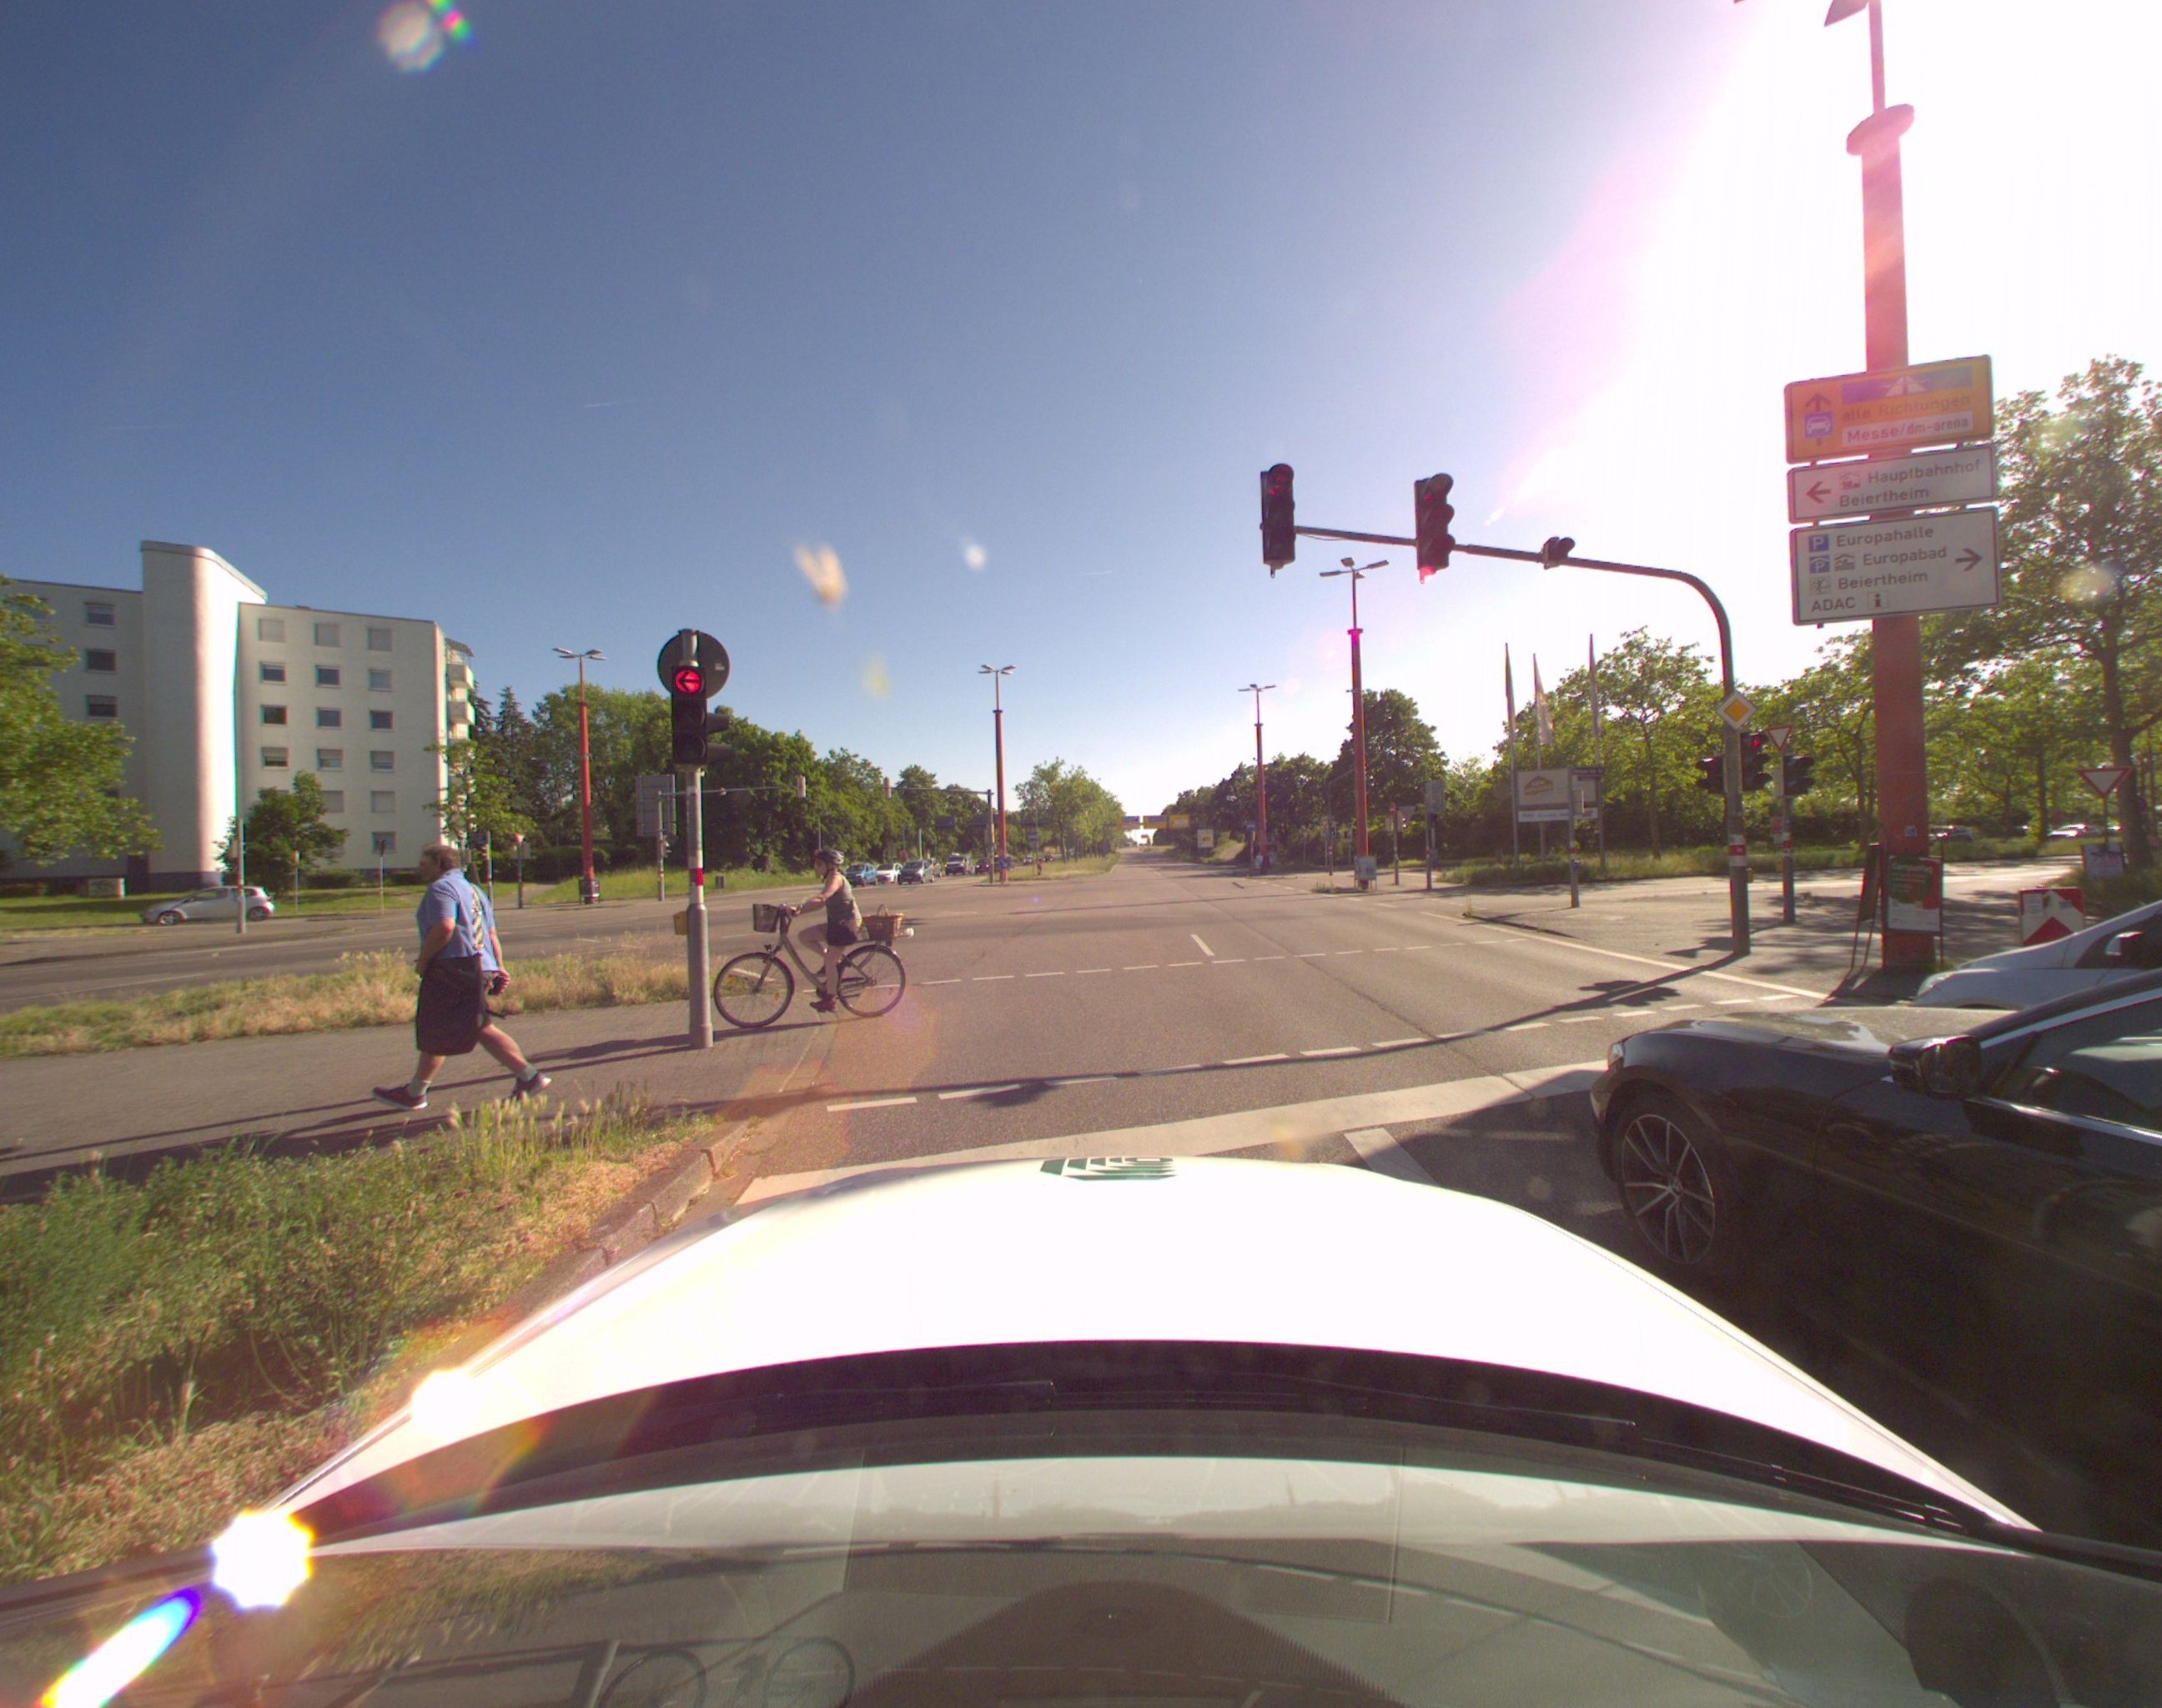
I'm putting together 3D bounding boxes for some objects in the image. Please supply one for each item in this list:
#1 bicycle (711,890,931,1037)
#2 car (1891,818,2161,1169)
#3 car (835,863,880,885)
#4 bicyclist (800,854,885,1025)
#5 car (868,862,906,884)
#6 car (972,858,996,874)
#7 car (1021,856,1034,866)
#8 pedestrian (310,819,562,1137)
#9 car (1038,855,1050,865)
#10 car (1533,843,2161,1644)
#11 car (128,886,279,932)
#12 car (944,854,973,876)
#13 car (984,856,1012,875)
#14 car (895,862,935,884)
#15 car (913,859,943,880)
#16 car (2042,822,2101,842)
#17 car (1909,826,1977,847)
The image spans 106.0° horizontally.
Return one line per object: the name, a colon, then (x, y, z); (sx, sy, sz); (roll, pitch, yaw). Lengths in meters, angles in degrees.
bicycle: (-2.531, 1.004, 7.984); (1.952, 1.195, 0.686); (-2, 0, -26)
car: (5.677, 0.603, 2.865); (1.732, 1.578, 4.032); (-2, 0, 3)
car: (-14.084, 1.213, 51.421); (1.733, 1.243, 3.613); (-2, 0, 1)
bicyclist: (-2.371, 0.805, 8.066); (0.664, 1.584, 0.667); (-2, 0, -26)
car: (-13.668, 1.320, 57.530); (1.733, 1.411, 3.613); (-2, 0, 1)
car: (-9.082, 1.099, 76.417); (1.733, 1.362, 3.613); (-2, 0, 1)
car: (-9.083, 1.154, 138.525); (1.791, 1.640, 4.002); (-2, 0, 2)
pedestrian: (-4.057, 0.702, 5.244); (0.988, 1.794, 0.948); (-1, 0, -20)
car: (-6.794, 1.109, 149.819); (1.812, 1.629, 4.002); (-2, 0, 2)
car: (2.842, 0.689, 1.357); (1.862, 1.398, 4.446); (-2, 0, 3)
car: (-35.471, 2.171, 33.018); (1.734, 1.398, 4.026); (-2, 2, 41)
car: (-12.002, 1.018, 80.127); (1.886, 2.026, 5.224); (-2, 0, 1)
car: (-7.040, 0.998, 69.505); (1.812, 1.508, 4.002); (-2, 0, 2)
car: (-10.600, 1.190, 52.308); (1.733, 1.243, 3.613); (-2, 0, 1)
car: (-12.891, 1.305, 68.762); (1.733, 1.612, 3.613); (-2, 0, 1)
car: (81.305, -1.795, 66.857); (3.991, 1.467, 1.674); (-2, 0, -17)
car: (66.671, -1.366, 63.006); (4.322, 1.485, 1.776); (-2, 0, -15)
